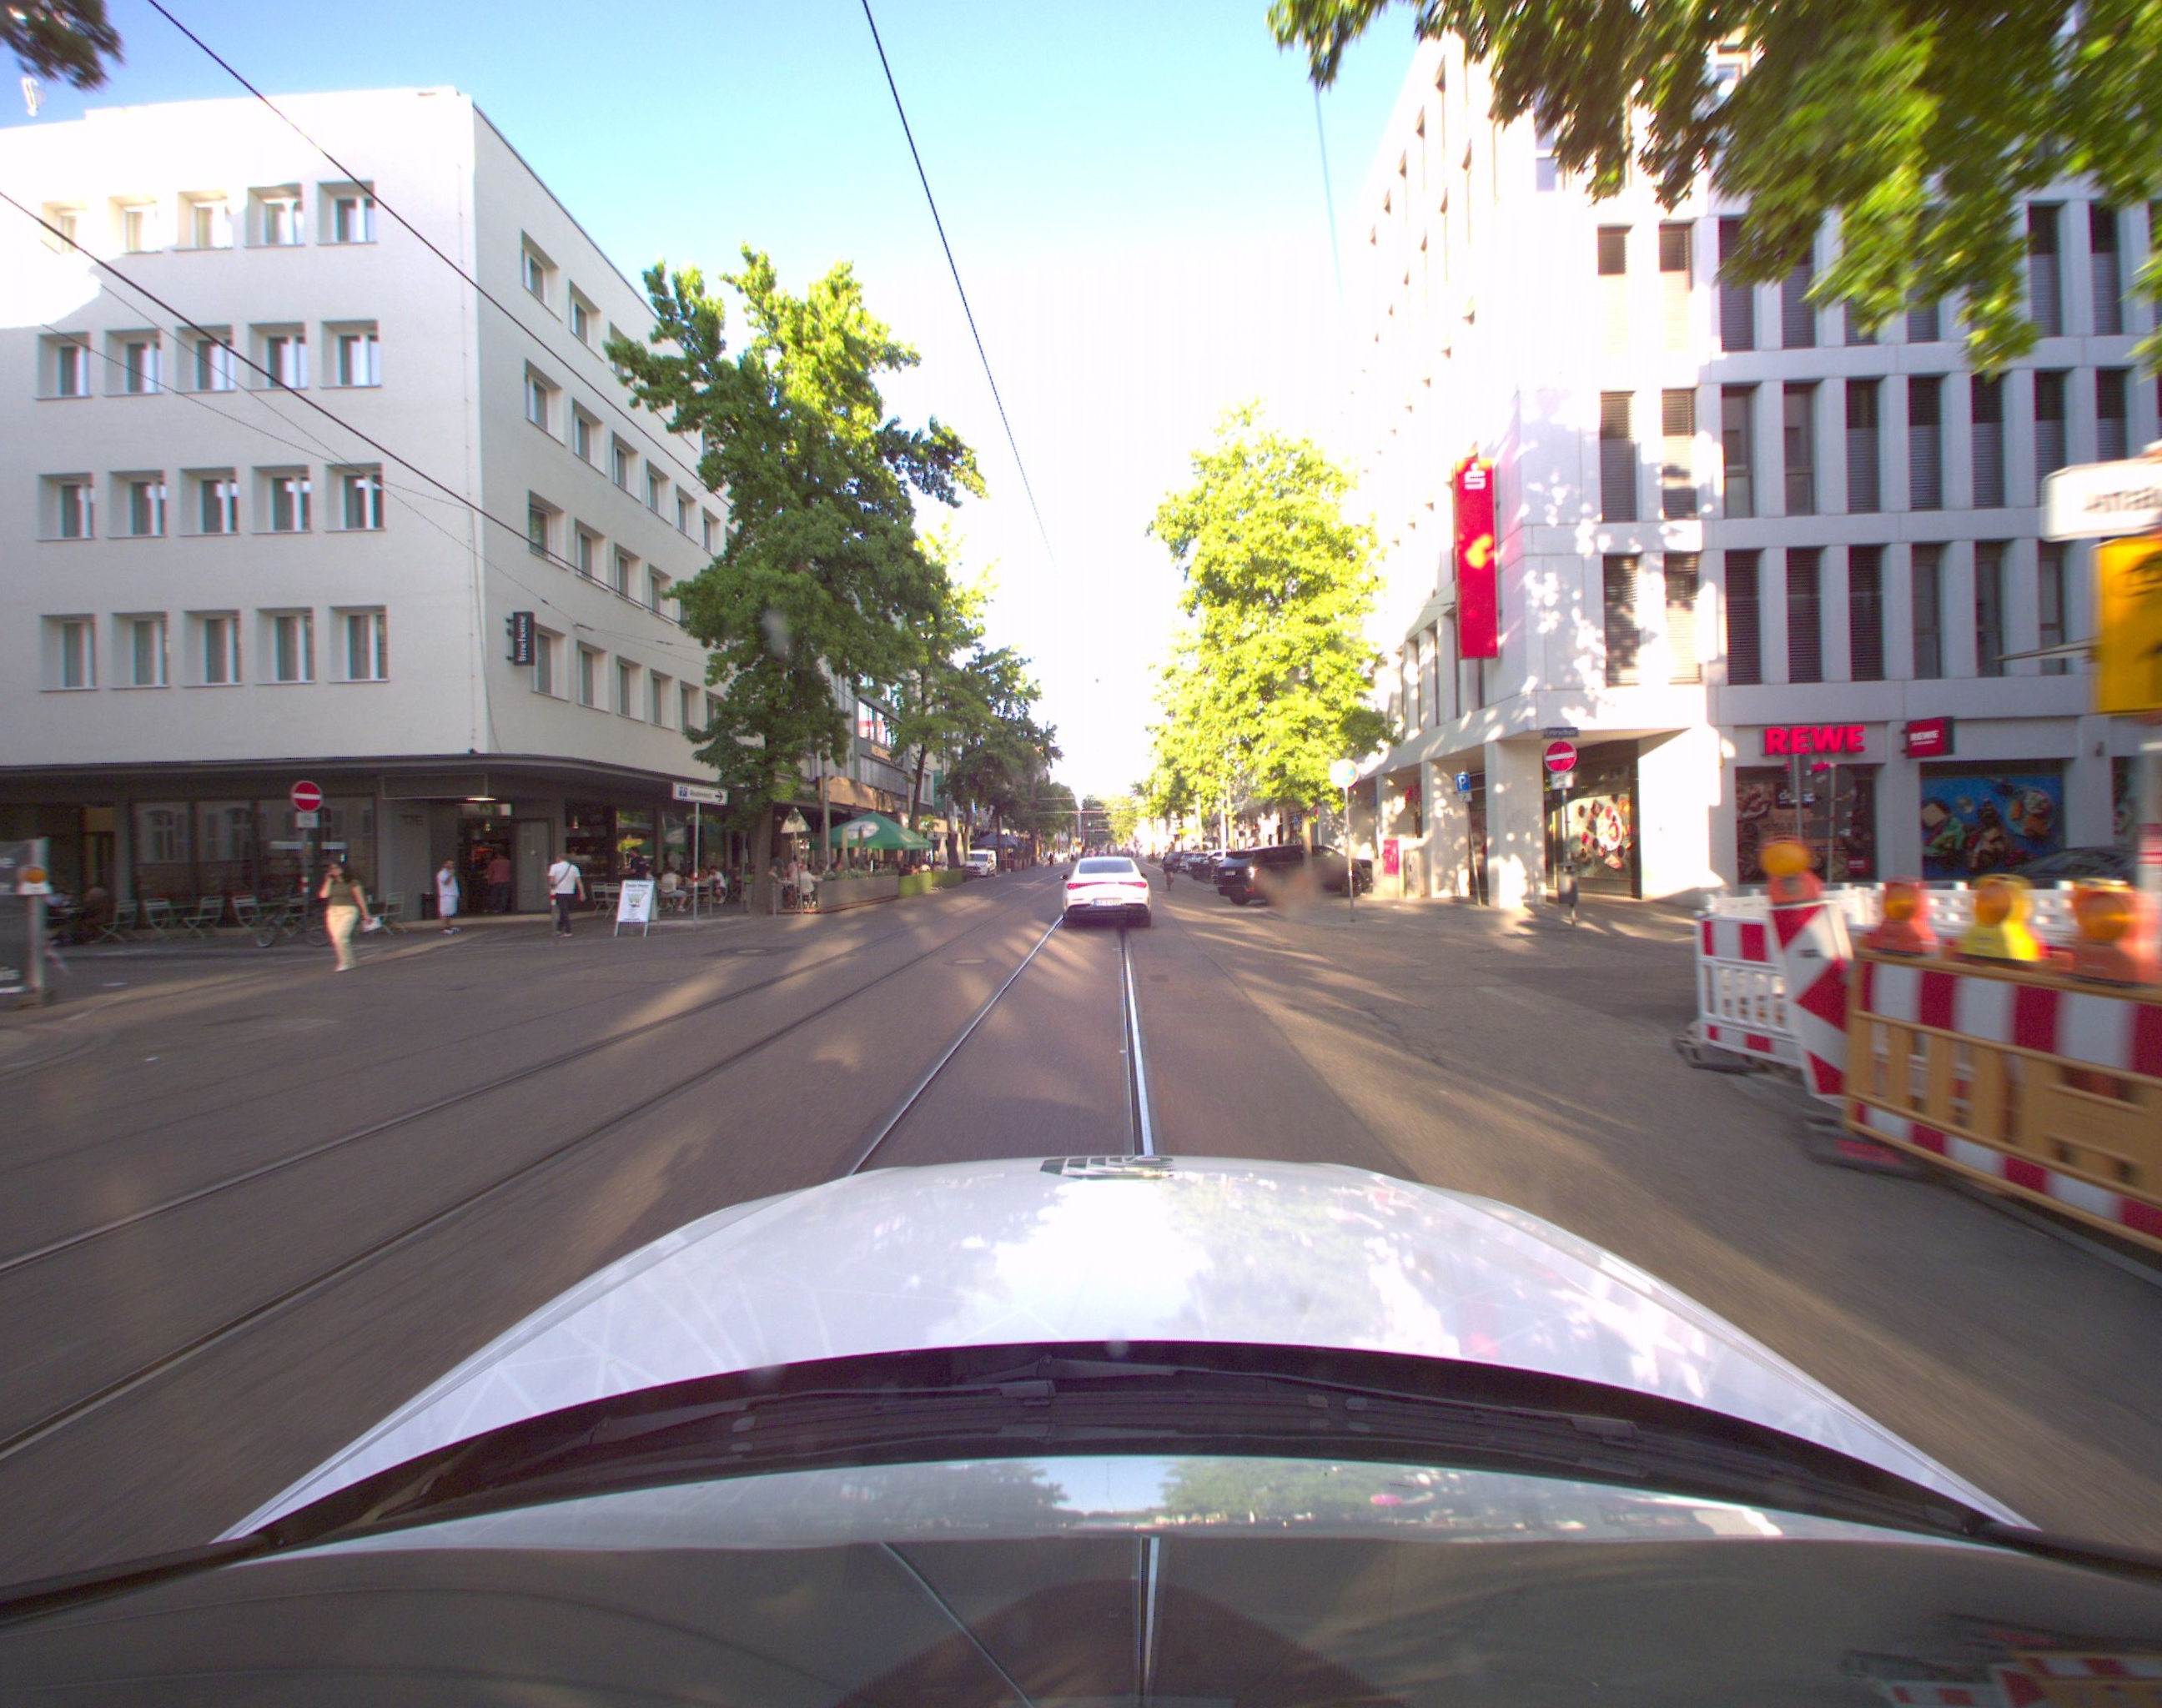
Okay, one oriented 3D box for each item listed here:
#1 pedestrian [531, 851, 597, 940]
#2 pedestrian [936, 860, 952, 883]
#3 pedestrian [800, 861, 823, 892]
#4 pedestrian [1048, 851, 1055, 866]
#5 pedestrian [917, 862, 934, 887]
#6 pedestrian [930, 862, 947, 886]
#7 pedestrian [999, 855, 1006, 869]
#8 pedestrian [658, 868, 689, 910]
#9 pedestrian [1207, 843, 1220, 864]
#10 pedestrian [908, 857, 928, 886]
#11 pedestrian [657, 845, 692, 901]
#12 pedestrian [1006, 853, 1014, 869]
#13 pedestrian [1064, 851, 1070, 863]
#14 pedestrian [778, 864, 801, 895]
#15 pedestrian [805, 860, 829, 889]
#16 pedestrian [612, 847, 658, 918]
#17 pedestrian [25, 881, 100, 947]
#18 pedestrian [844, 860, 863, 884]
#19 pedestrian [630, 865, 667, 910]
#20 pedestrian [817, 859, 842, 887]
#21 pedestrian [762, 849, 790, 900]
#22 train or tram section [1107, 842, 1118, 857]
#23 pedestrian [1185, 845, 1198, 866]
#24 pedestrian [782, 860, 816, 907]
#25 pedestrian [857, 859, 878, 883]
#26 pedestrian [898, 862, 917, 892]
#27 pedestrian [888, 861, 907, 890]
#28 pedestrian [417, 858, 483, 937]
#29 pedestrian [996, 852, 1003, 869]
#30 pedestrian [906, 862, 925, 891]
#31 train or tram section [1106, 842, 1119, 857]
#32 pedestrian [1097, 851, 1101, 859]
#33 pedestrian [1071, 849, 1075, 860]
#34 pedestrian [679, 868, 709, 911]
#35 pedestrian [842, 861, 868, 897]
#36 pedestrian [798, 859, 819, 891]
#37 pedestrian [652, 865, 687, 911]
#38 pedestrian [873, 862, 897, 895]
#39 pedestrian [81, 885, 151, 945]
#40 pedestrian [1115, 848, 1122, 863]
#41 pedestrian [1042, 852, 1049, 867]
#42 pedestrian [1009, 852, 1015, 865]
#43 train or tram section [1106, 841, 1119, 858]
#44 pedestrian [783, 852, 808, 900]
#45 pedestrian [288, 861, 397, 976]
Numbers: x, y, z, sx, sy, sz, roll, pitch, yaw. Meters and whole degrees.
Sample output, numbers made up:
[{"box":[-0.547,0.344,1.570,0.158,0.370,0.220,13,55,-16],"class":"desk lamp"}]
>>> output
[{"box":[-10.671,0.832,16.806,0.788,1.740,0.871,-1,1,36],"class":"pedestrian"},{"box":[-7.268,0.942,43.305,0.654,1.193,0.798,2,0,2],"class":"pedestrian"},{"box":[-11.062,0.932,33.459,0.667,1.242,0.799,0,0,2],"class":"pedestrian"},{"box":[-3.093,0.463,84.267,0.619,1.550,0.853,1,0,3],"class":"pedestrian"},{"box":[-8.083,1.066,42.343,0.654,1.293,0.798,2,0,2],"class":"pedestrian"},{"box":[-7.414,1.039,42.357,0.654,1.244,0.873,2,0,2],"class":"pedestrian"},{"box":[-6.812,0.664,70.865,0.493,1.228,0.535,0,0,1],"class":"pedestrian"},{"box":[-12.159,1.034,24.317,0.550,1.235,0.687,0,0,3],"class":"pedestrian"},{"box":[11.232,-0.013,69.041,0.681,1.731,0.636,-4,0,44],"class":"pedestrian"},{"box":[-7.913,0.849,39.550,0.751,1.343,0.873,2,0,1],"class":"pedestrian"},{"box":[-13.423,0.613,26.913,0.679,1.791,0.763,0,0,17],"class":"pedestrian"},{"box":[-6.047,0.629,69.477,0.547,1.356,0.583,0,0,1],"class":"pedestrian"},{"box":[-2.095,0.473,120.900,0.784,1.801,0.845,-1,0,3],"class":"pedestrian"},{"box":[-11.285,0.989,31.502,0.599,1.174,0.687,0,0,3],"class":"pedestrian"},{"box":[-11.627,0.916,35.858,0.733,1.231,0.788,2,0,1],"class":"pedestrian"},{"box":[-11.632,0.735,21.253,0.679,1.815,0.767,0,0,17],"class":"pedestrian"},{"box":[-22.010,1.285,17.616,0.769,1.335,0.618,-1,2,0],"class":"pedestrian"},{"box":[-11.302,0.879,40.489,0.697,1.168,0.788,2,0,1],"class":"pedestrian"},{"box":[-12.424,0.956,23.400,0.642,1.269,0.739,0,0,3],"class":"pedestrian"},{"box":[-11.461,0.865,37.125,0.774,1.237,0.945,2,0,2],"class":"pedestrian"},{"box":[-10.671,0.713,28.492,0.675,1.757,0.698,0,0,4],"class":"pedestrian"},{"box":[8.045,-1.115,205.336,2.684,3.516,11.150,-2,0,2],"class":"train or tram section"},{"box":[9.384,0.139,69.186,0.672,1.685,0.700,-4,0,36],"class":"pedestrian"},{"box":[-8.534,0.869,24.660,0.686,1.386,0.807,0,0,3],"class":"pedestrian"},{"box":[-11.238,0.881,42.960,0.750,1.188,1.065,2,0,2],"class":"pedestrian"},{"box":[-7.508,0.977,35.171,0.616,1.245,0.697,2,0,1],"class":"pedestrian"},{"box":[-8.136,0.962,36.146,0.616,1.245,0.697,2,0,1],"class":"pedestrian"},{"box":[-13.685,0.915,17.686,0.797,1.614,0.862,-1,2,-15],"class":"pedestrian"},{"box":[-6.940,0.588,69.555,0.547,1.429,0.583,0,0,1],"class":"pedestrian"},{"box":[-7.333,0.996,36.082,0.616,1.245,0.697,2,0,1],"class":"pedestrian"},{"box":[7.524,-1.065,193.498,2.684,3.516,12.553,-2,0,2],"class":"train or tram section"},{"box":[4.172,0.299,190.577,0.797,1.782,0.849,0,0,1],"class":"pedestrian"},{"box":[-1.462,0.089,144.905,0.536,1.929,0.574,-2,0,6],"class":"pedestrian"},{"box":[-11.589,1.049,24.404,0.550,1.235,0.687,0,0,3],"class":"pedestrian"},{"box":[-8.616,0.930,31.026,0.704,1.347,0.782,0,0,4],"class":"pedestrian"},{"box":[-11.696,0.899,34.991,0.616,1.309,0.697,2,0,1],"class":"pedestrian"},{"box":[-11.769,0.959,23.303,0.624,1.282,0.728,0,0,3],"class":"pedestrian"},{"box":[-7.769,0.968,32.226,0.704,1.259,0.773,0,0,4],"class":"pedestrian"},{"box":[-20.900,1.313,17.651,0.688,1.201,0.618,-2,2,0],"class":"pedestrian"},{"box":[4.586,0.193,100.170,0.838,1.801,0.791,0,0,3],"class":"pedestrian"},{"box":[-3.613,0.589,83.382,0.619,1.509,0.834,1,0,3],"class":"pedestrian"},{"box":[-7.910,0.528,93.582,0.594,1.533,0.672,0,0,3],"class":"pedestrian"},{"box":[6.965,-1.007,180.950,2.684,3.516,12.553,-2,0,2],"class":"train or tram section"},{"box":[-10.031,0.762,28.622,0.616,1.670,0.697,0,0,1],"class":"pedestrian"},{"box":[-11.298,0.961,12.489,0.704,1.656,0.968,-2,1,4],"class":"pedestrian"}]
